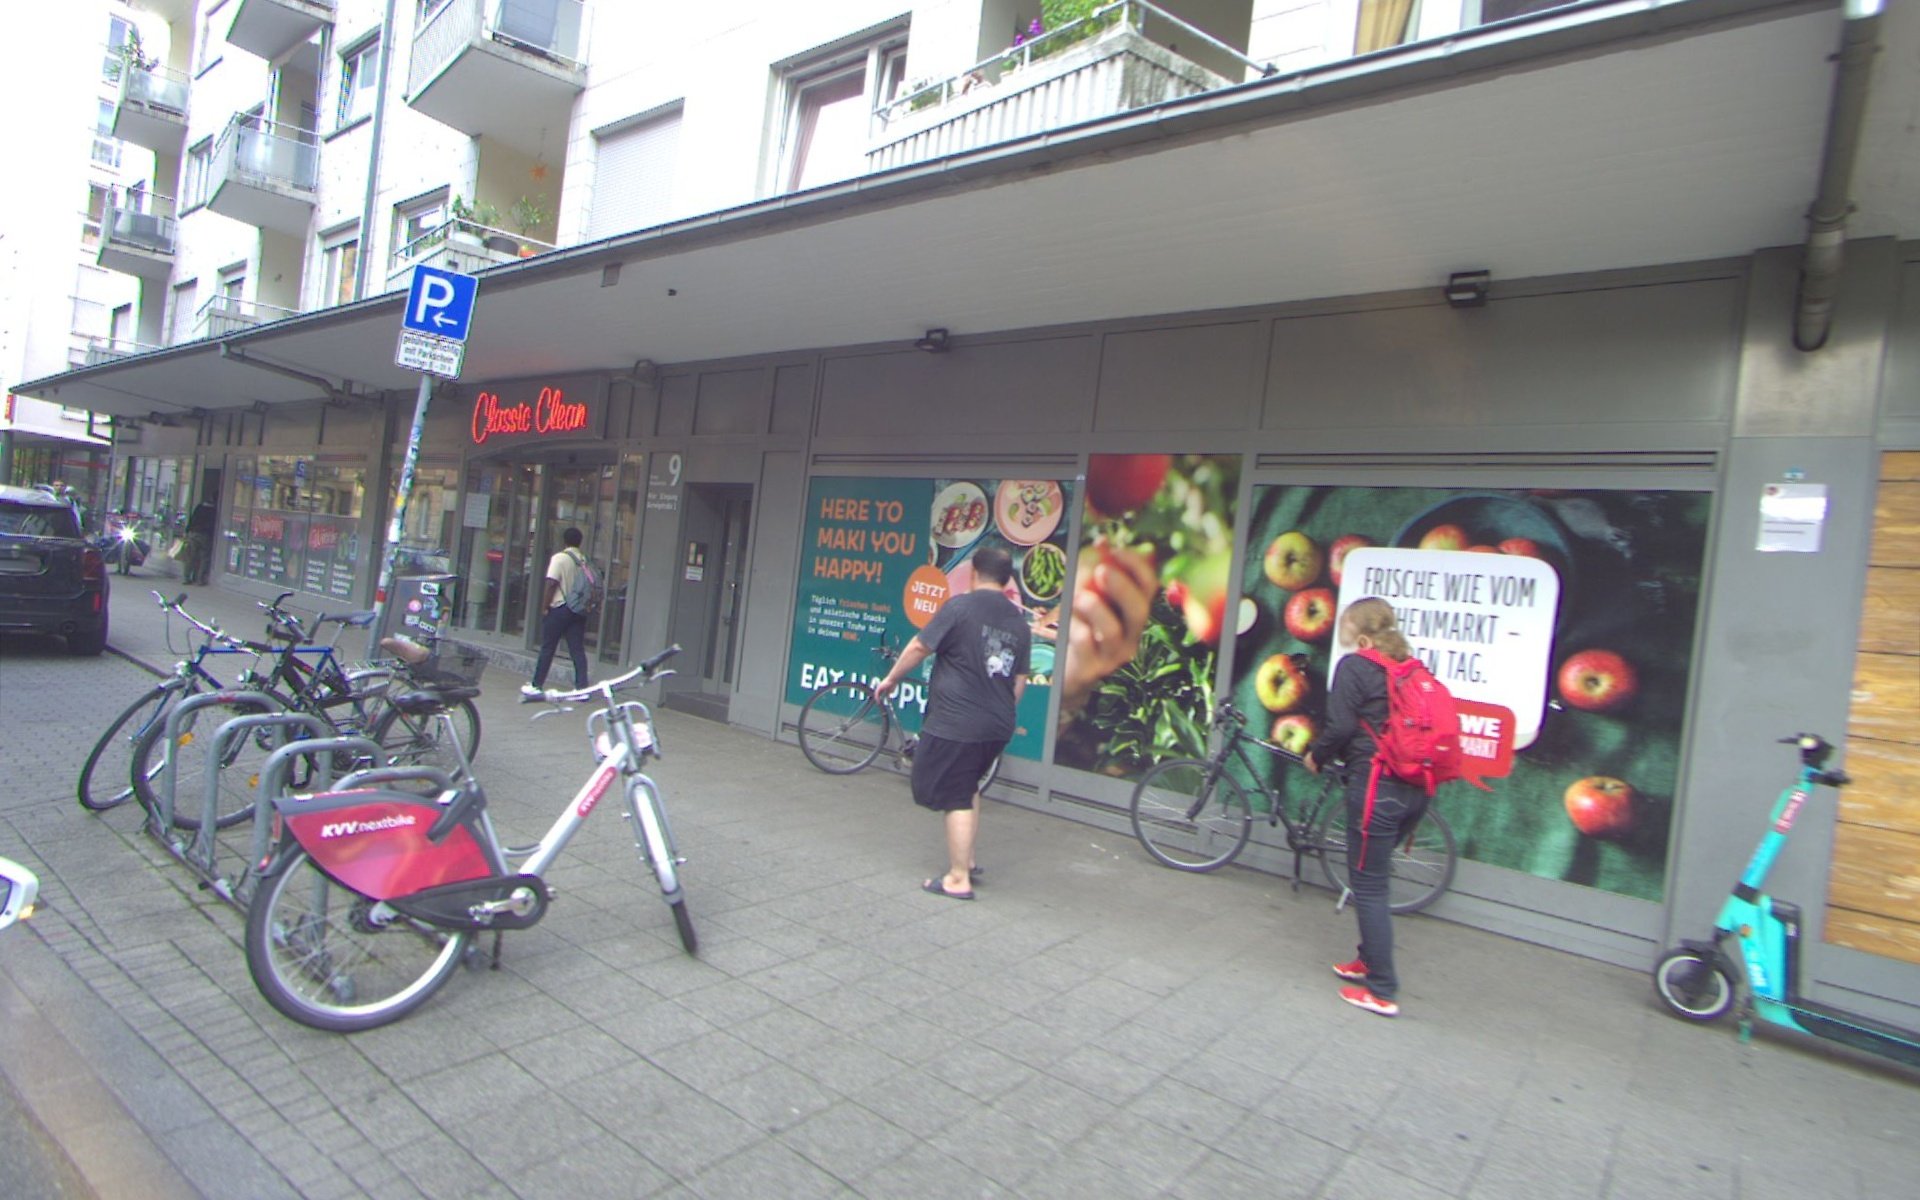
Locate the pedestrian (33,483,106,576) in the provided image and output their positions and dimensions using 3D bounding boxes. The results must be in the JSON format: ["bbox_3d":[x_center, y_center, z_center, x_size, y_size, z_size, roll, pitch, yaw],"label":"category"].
[{"bbox_3d":[-16.730,-1.326,18.900,0.769,1.608,0.823,7,1,40],"label":"pedestrian"}]

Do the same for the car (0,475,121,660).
[{"bbox_3d":[-9.974,-0.461,10.000,3.867,1.627,1.789,7,2,39],"label":"car"}]

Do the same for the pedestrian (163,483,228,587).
[{"bbox_3d":[-14.796,-1.243,19.493,0.700,1.883,0.641,7,0,-23],"label":"pedestrian"}]

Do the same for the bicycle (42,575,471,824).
[{"bbox_3d":[-3.706,0.486,5.488,0.576,1.085,1.790,8,2,28],"label":"bicycle"}]

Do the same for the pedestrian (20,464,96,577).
[{"bbox_3d":[-15.055,-1.327,16.789,1.108,1.749,0.611,7,3,33],"label":"pedestrian"}]

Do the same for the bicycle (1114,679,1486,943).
[{"bbox_3d":[1.790,1.066,5.452,1.701,1.056,0.678,6,0,19],"label":"bicycle"}]

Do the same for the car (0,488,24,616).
[{"bbox_3d":[-13.900,-0.819,13.184,3.843,1.597,1.687,6,0,37],"label":"car"}]

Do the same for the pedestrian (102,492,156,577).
[{"bbox_3d":[-16.621,-1.311,20.116,0.769,1.609,0.642,7,2,40],"label":"pedestrian"}]

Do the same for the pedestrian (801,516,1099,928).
[{"bbox_3d":[-0.051,0.534,5.038,1.033,1.770,0.848,7,3,37],"label":"pedestrian"}]

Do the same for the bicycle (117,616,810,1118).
[{"bbox_3d":[-1.549,0.697,3.459,0.893,1.140,1.881,7,2,36],"label":"bicycle"}]

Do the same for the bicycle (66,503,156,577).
[{"bbox_3d":[-17.419,-1.244,20.605,2.463,1.307,0.917,7,2,39],"label":"bicycle"}]

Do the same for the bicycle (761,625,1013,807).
[{"bbox_3d":[-0.575,0.798,7.471,1.756,1.028,0.740,7,2,38],"label":"bicycle"}]

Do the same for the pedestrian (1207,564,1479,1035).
[{"bbox_3d":[1.568,0.731,4.100,0.701,1.654,0.721,7,3,36],"label":"pedestrian"}]

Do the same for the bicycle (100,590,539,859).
[{"bbox_3d":[-3.145,0.561,5.155,0.559,1.085,1.790,8,2,28],"label":"bicycle"}]

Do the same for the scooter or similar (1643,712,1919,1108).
[{"bbox_3d":[3.432,1.150,3.831,1.236,1.229,0.631,7,3,36],"label":"scooter or similar"}]

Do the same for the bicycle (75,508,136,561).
[{"bbox_3d":[-22.605,-1.743,26.598,1.901,1.206,0.534,7,1,30],"label":"bicycle"}]

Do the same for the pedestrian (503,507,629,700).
[{"bbox_3d":[-3.864,0.029,9.868,0.804,1.770,0.713,7,3,37],"label":"pedestrian"}]
